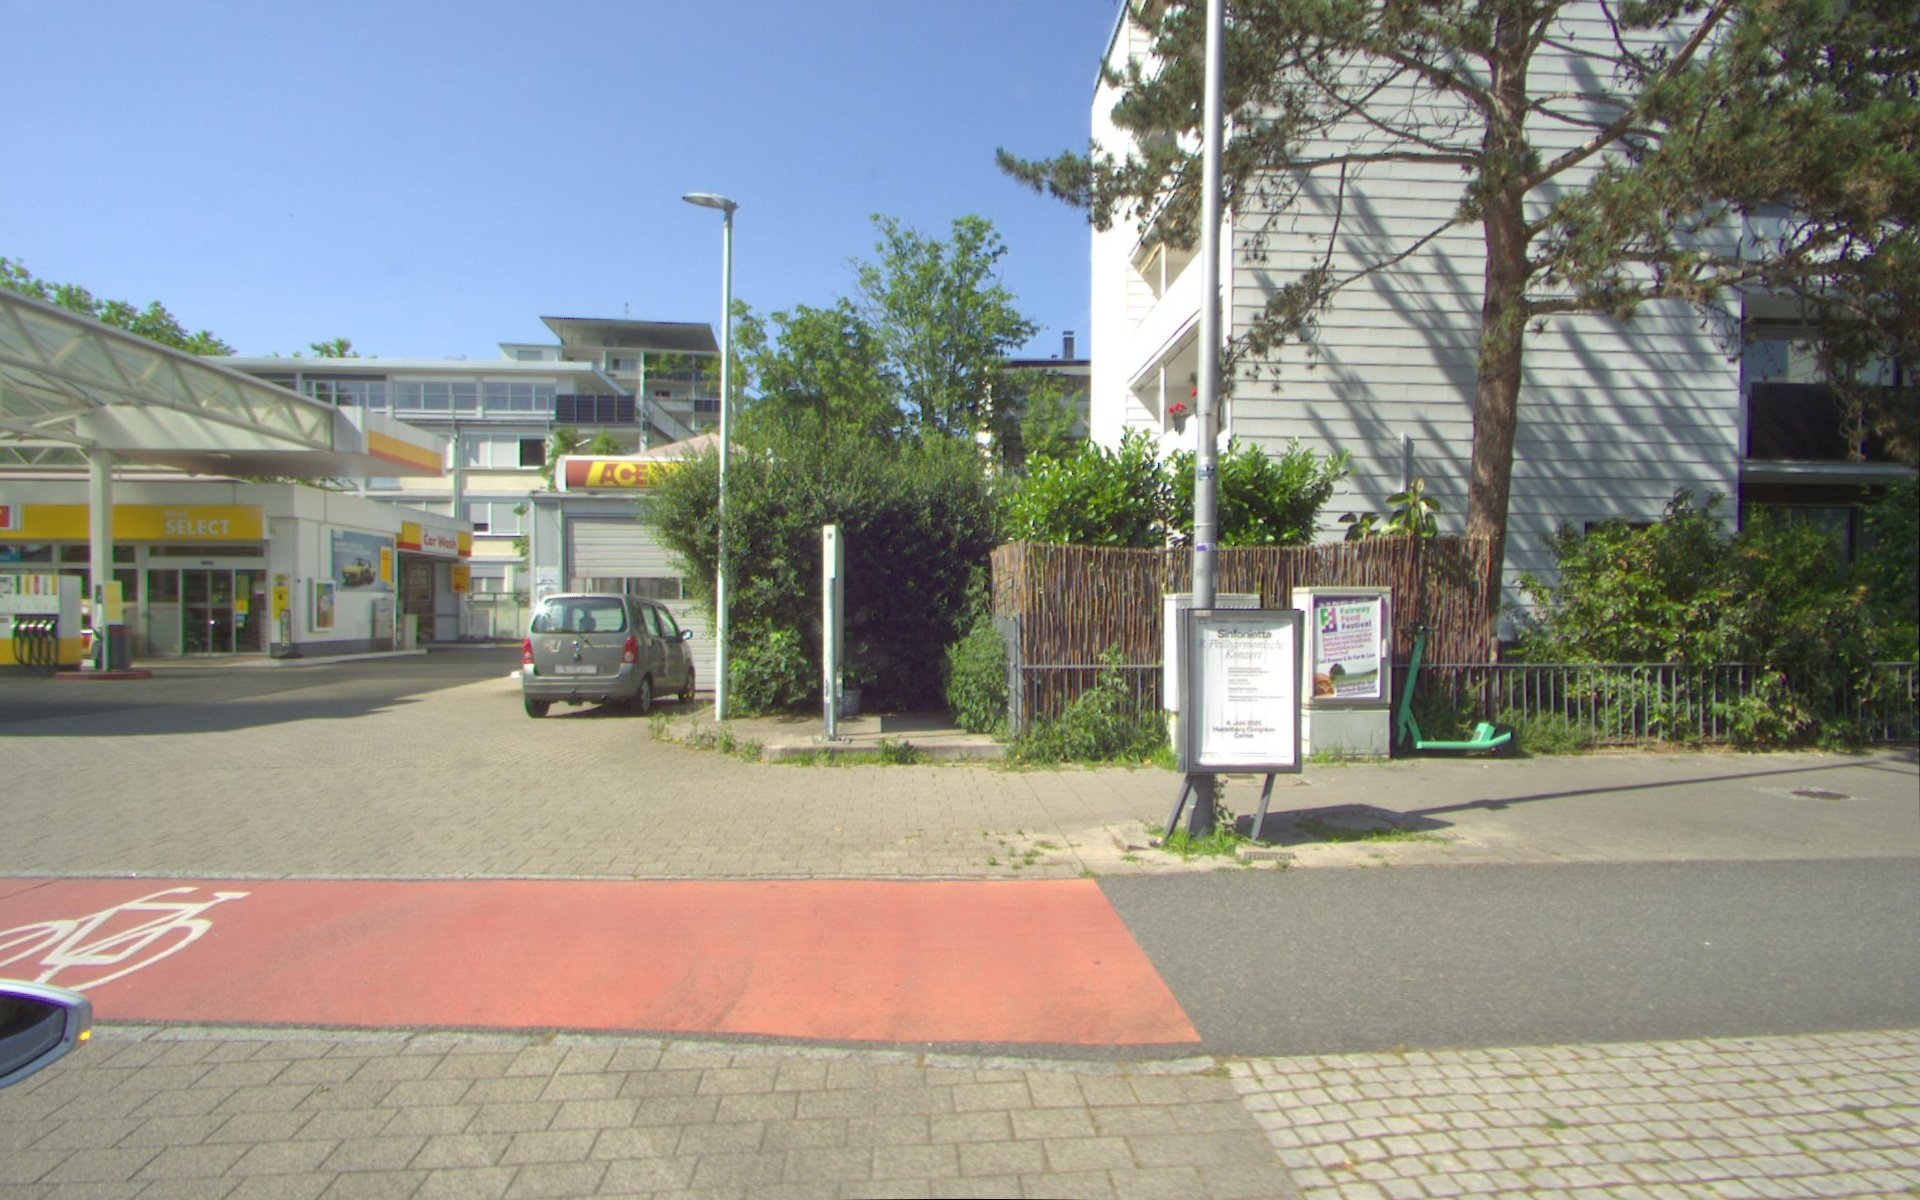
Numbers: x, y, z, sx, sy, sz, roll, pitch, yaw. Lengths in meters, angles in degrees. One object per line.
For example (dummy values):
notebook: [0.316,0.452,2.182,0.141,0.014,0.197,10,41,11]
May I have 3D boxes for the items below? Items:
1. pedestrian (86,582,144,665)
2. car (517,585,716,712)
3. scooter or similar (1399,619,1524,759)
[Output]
pedestrian: [-19.250,0.528,22.835,0.845,1.862,0.742,0,0,-25]
car: [-4.861,0.653,14.714,1.559,1.617,3.834,0,-1,1]
scooter or similar: [4.319,0.759,8.637,0.939,1.181,0.231,0,0,4]
